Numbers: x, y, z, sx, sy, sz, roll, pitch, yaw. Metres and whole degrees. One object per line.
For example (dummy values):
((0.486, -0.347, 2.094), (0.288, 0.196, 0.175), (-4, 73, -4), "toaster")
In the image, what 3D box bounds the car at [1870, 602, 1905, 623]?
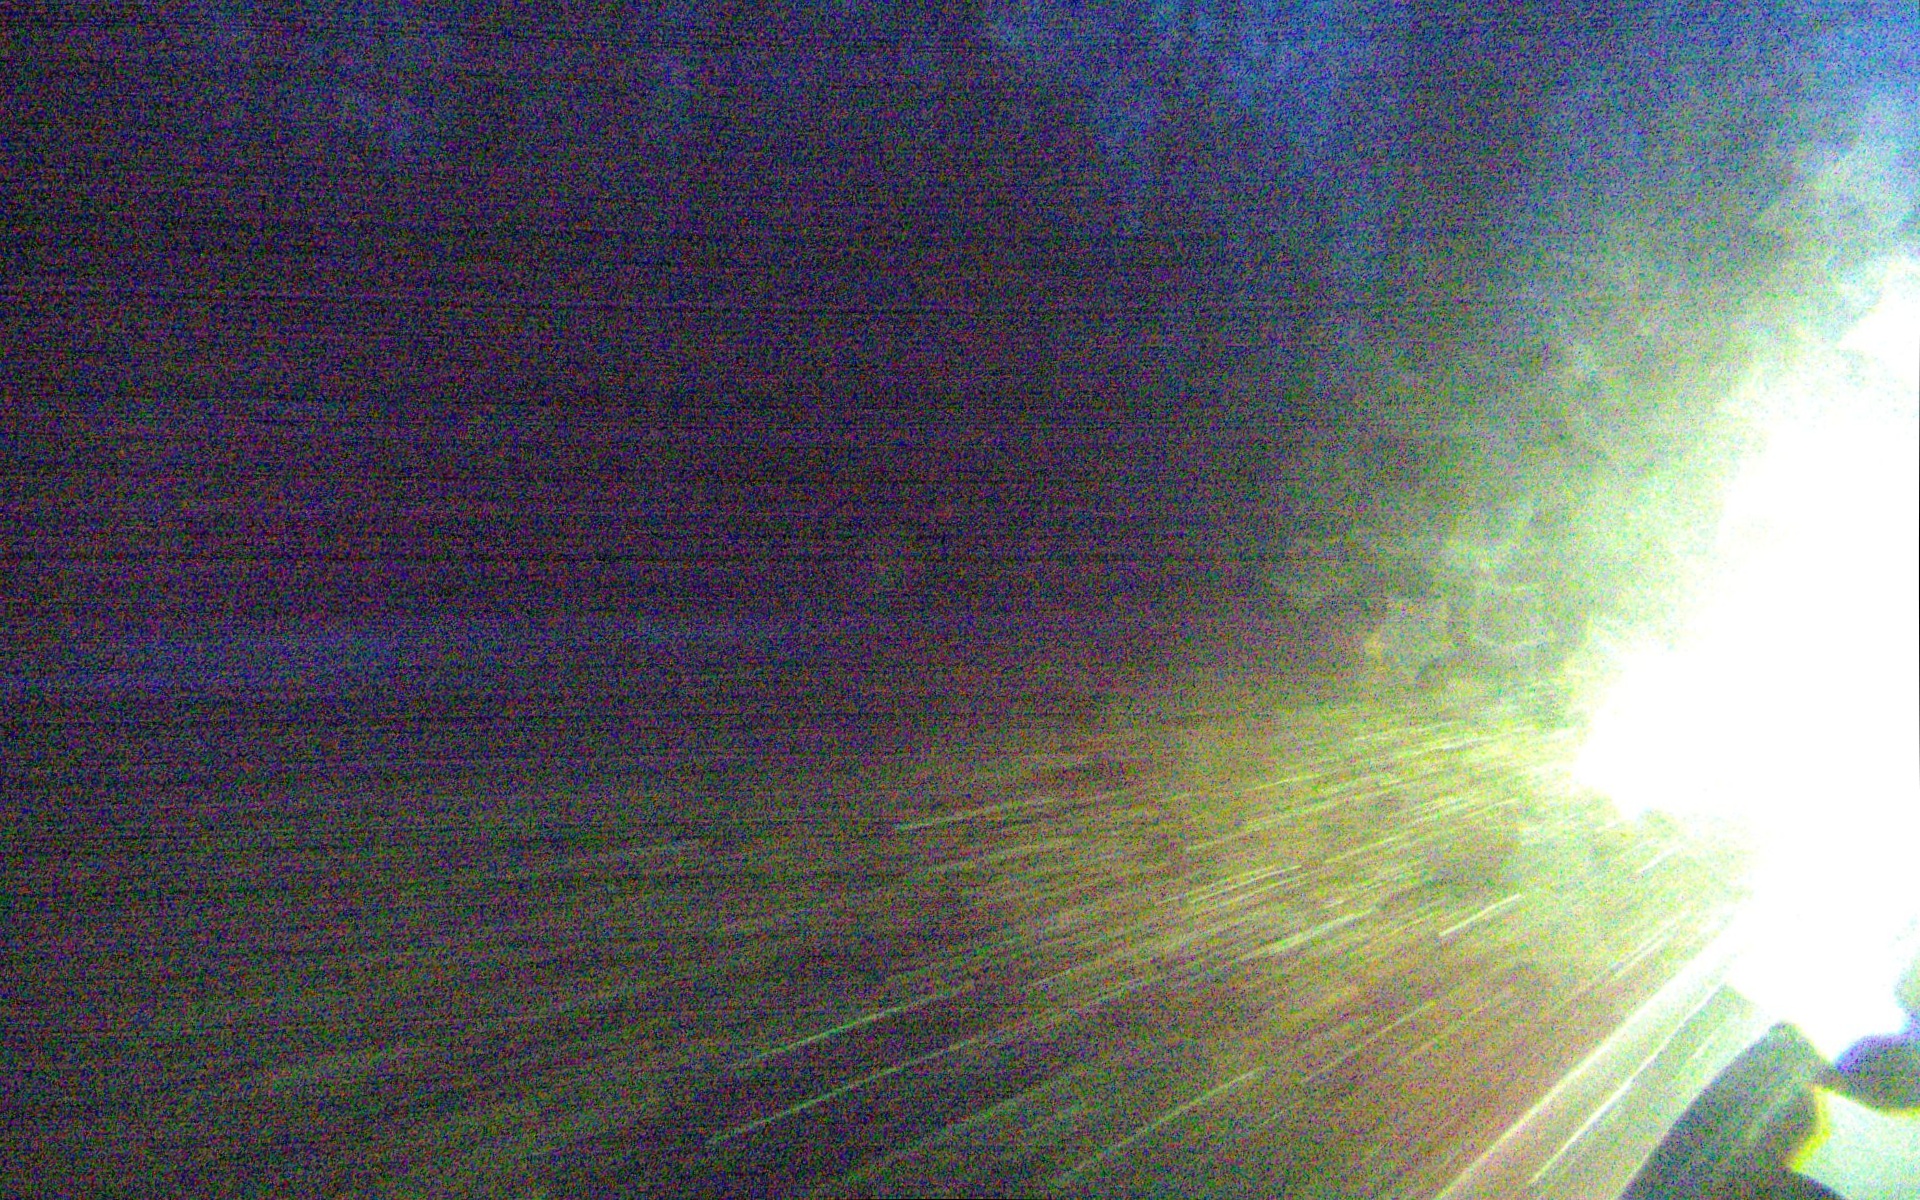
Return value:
((79.571, 1.035, 86.856), (1.895, 1.580, 3.943), (5, 3, 39), "car")

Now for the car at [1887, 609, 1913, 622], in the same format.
((105.799, 1.769, 113.941), (1.753, 1.423, 4.422), (2, 0, 39), "car")
